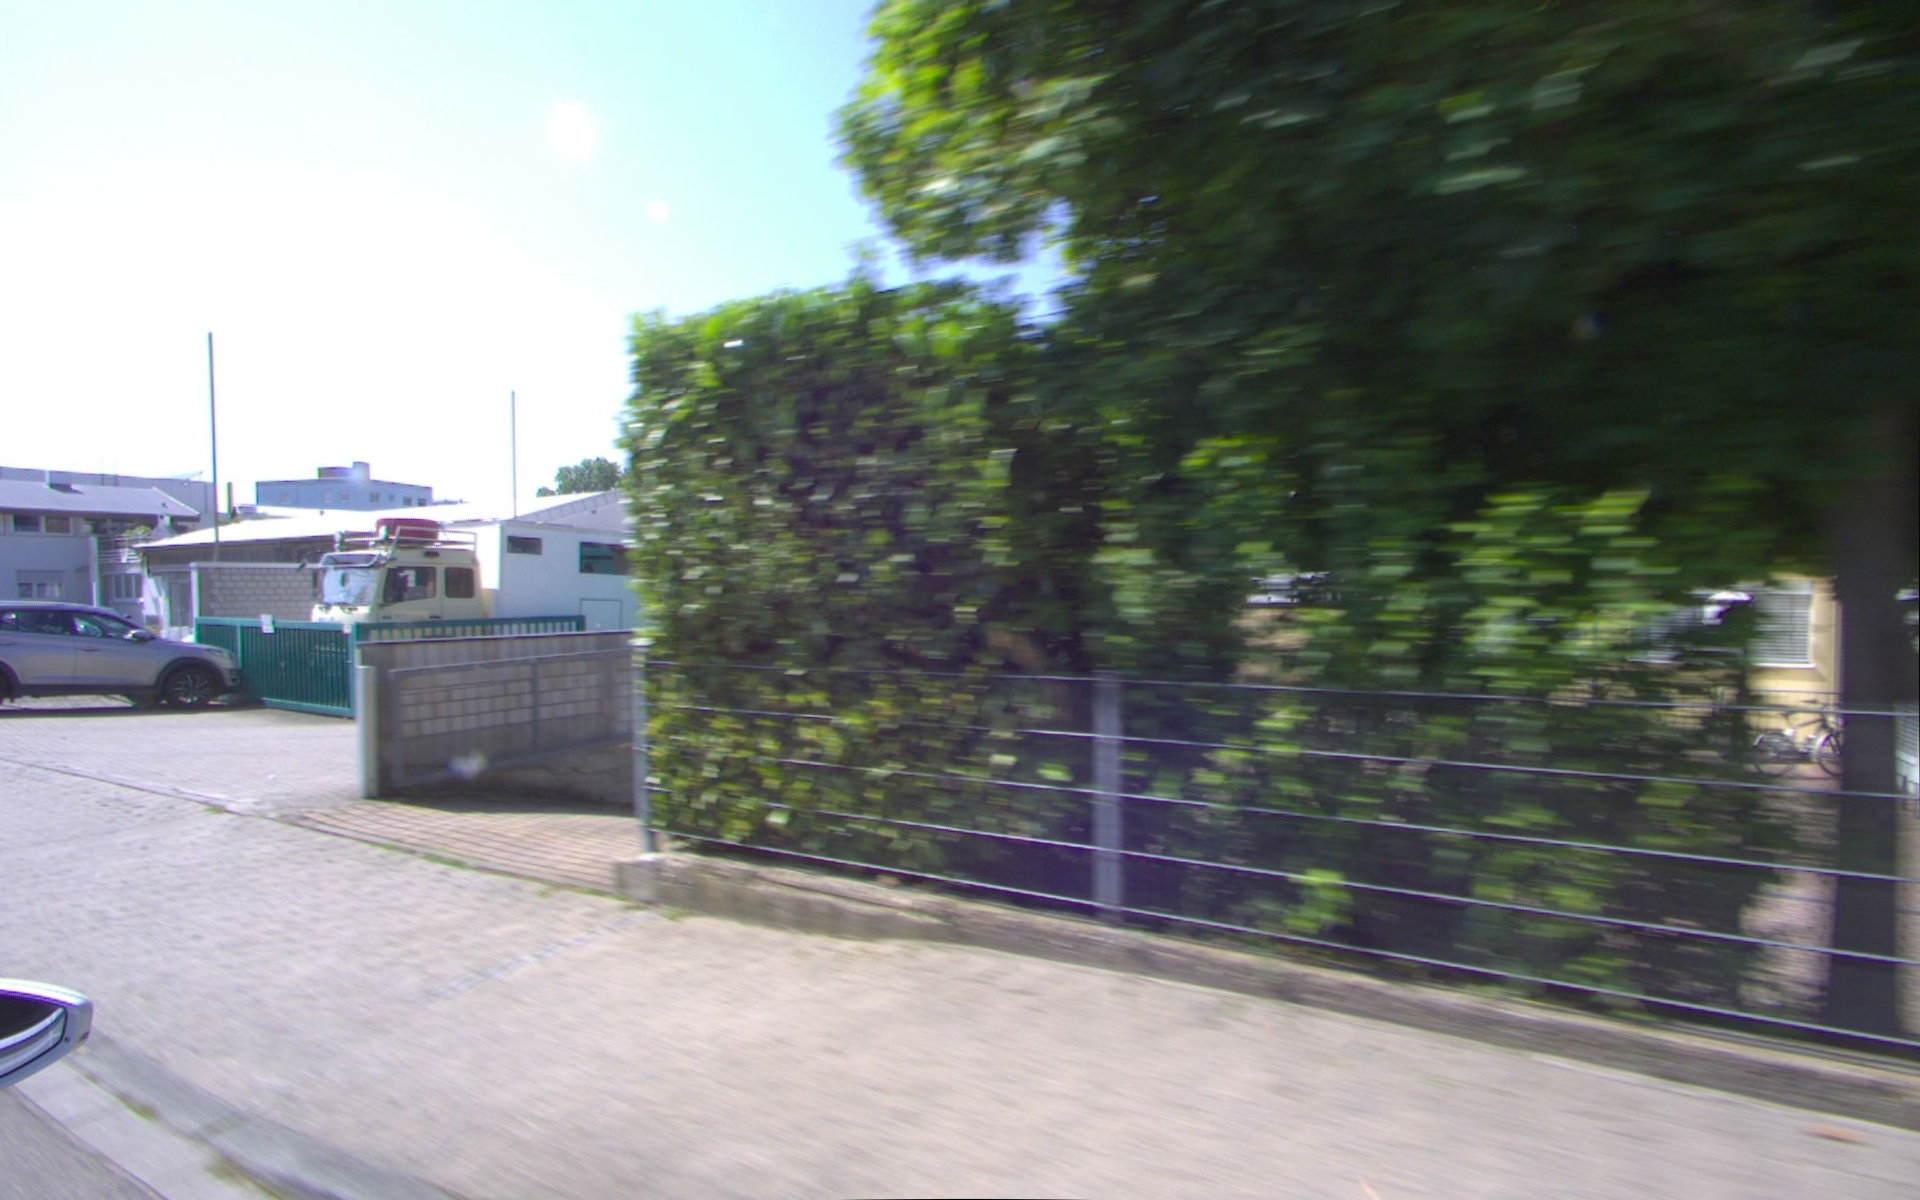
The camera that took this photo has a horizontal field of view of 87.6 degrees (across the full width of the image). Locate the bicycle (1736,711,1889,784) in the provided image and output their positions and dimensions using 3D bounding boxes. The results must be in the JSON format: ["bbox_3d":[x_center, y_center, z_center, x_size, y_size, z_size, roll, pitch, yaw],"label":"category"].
[{"bbox_3d":[13.150,2.273,15.478,1.778,1.007,0.617,0,3,2],"label":"bicycle"}]

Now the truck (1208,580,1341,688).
[{"bbox_3d":[10.820,1.143,34.541,3.949,3.523,1.853,0,-1,38],"label":"truck"}]

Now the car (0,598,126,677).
[{"bbox_3d":[-19.117,0.744,19.261,1.864,1.461,4.343,0,2,31],"label":"car"}]

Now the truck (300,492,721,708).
[{"bbox_3d":[-8.422,0.135,19.951,2.490,3.467,7.507,0,-2,32],"label":"truck"}]

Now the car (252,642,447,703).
[{"bbox_3d":[-11.445,1.314,18.917,1.269,1.016,2.892,1,-1,32],"label":"car"}]

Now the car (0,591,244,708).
[{"bbox_3d":[-14.137,0.779,15.836,1.741,1.703,4.197,0,-3,31],"label":"car"}]

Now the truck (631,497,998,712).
[{"bbox_3d":[-2.620,0.029,21.301,2.913,3.660,8.251,0,1,35],"label":"truck"}]

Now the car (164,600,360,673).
[{"bbox_3d":[-15.780,0.764,22.591,4.387,1.461,1.883,0,2,29],"label":"car"}]

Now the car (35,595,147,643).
[{"bbox_3d":[-26.761,0.548,30.802,4.044,1.342,1.636,0,2,35],"label":"car"}]

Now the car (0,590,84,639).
[{"bbox_3d":[-31.809,0.479,33.697,4.078,1.517,1.760,0,3,21],"label":"car"}]
